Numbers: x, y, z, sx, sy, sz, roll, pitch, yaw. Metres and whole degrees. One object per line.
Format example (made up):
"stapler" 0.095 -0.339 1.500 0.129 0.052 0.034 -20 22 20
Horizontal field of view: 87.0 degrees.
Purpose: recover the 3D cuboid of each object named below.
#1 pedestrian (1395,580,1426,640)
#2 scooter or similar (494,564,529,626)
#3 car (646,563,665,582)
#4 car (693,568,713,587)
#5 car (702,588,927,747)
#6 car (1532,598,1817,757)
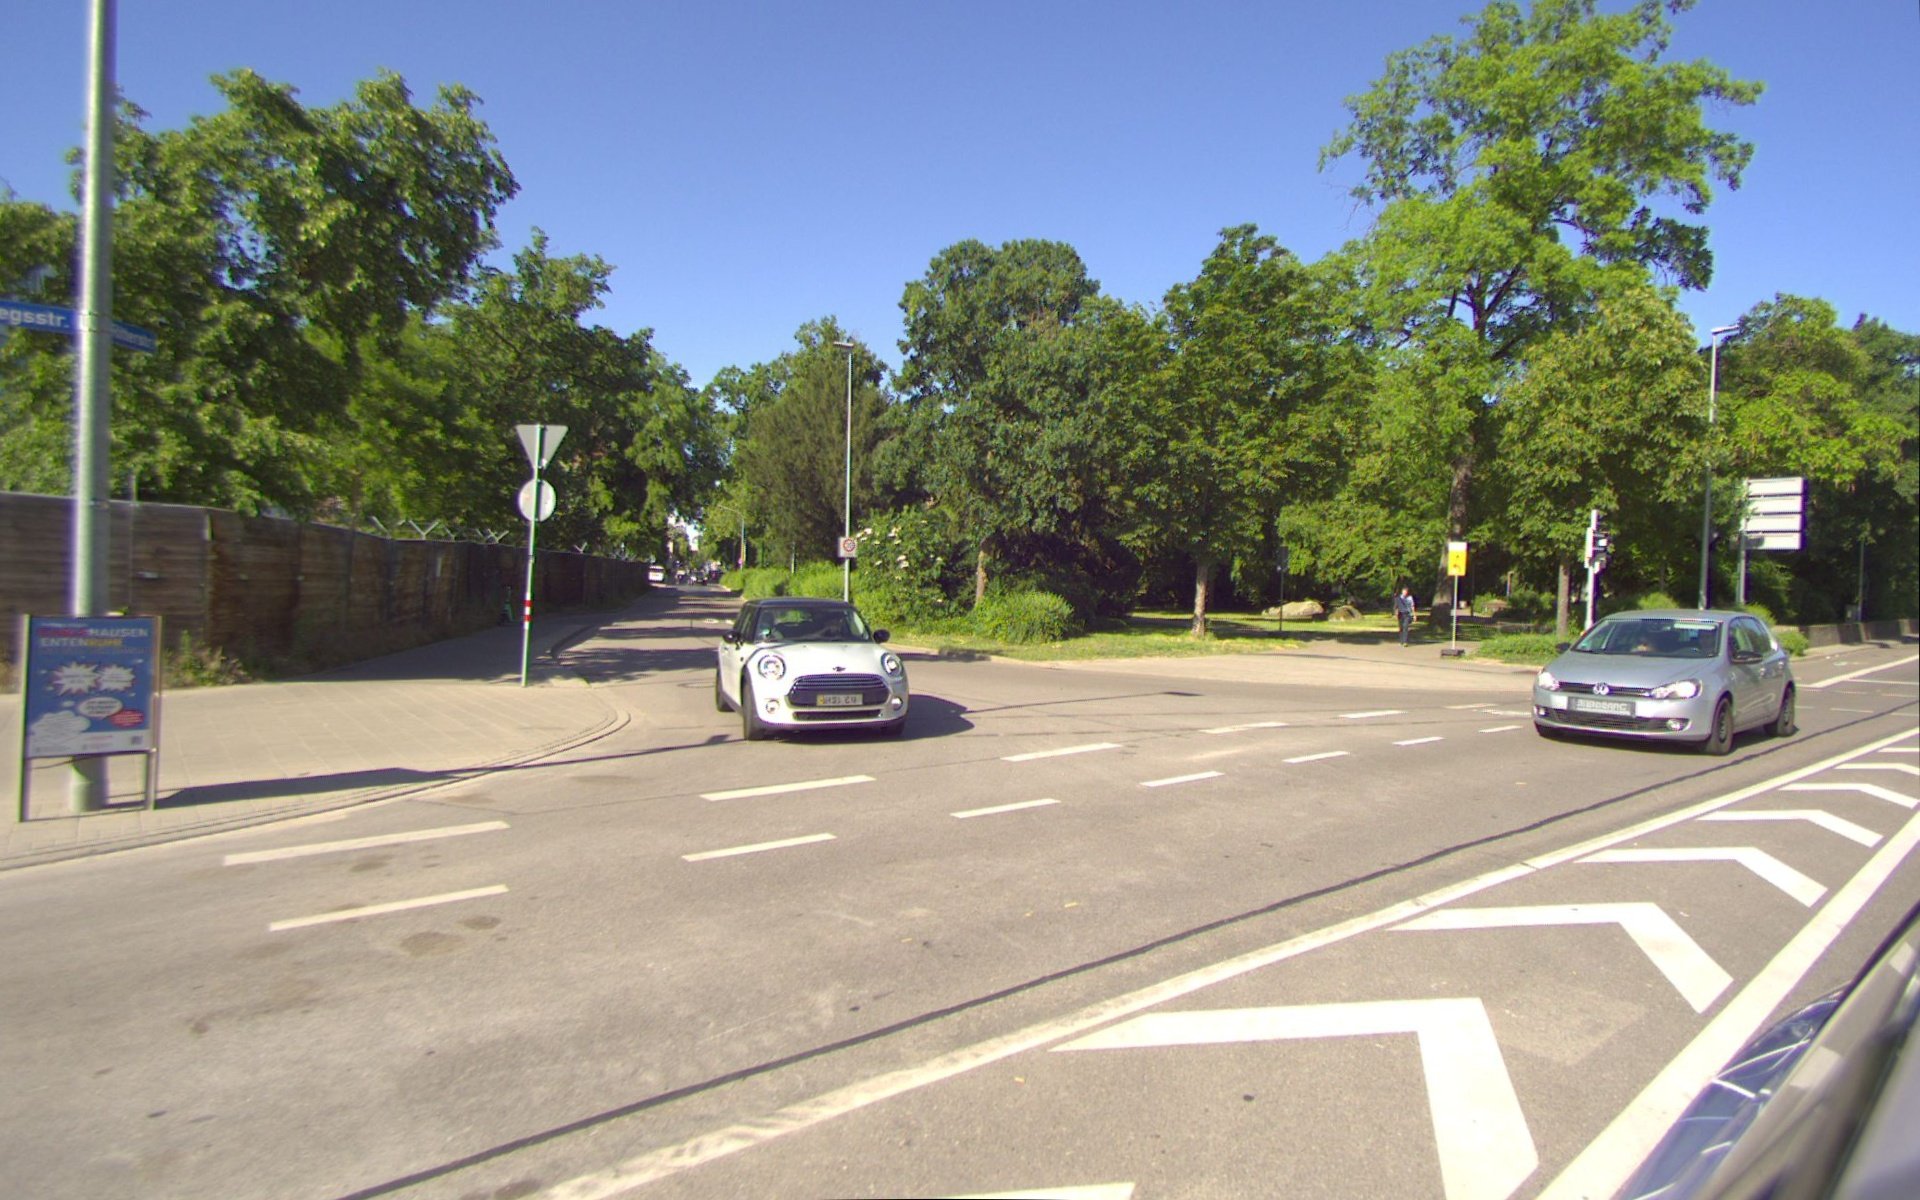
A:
"pedestrian" 13.318 0.290 29.940 0.729 1.724 0.869 1 0 20
"scooter or similar" -12.749 -0.158 28.804 0.563 1.705 2.081 1 0 -14
"car" -34.004 -3.086 113.169 1.958 2.039 4.009 1 1 -15
"car" -29.404 -2.548 115.715 1.958 2.039 4.009 0 1 -19
"car" -1.798 0.604 11.404 1.735 1.454 3.720 0 1 -21
"car" 8.256 0.742 11.570 3.928 1.493 1.702 0 1 -40
